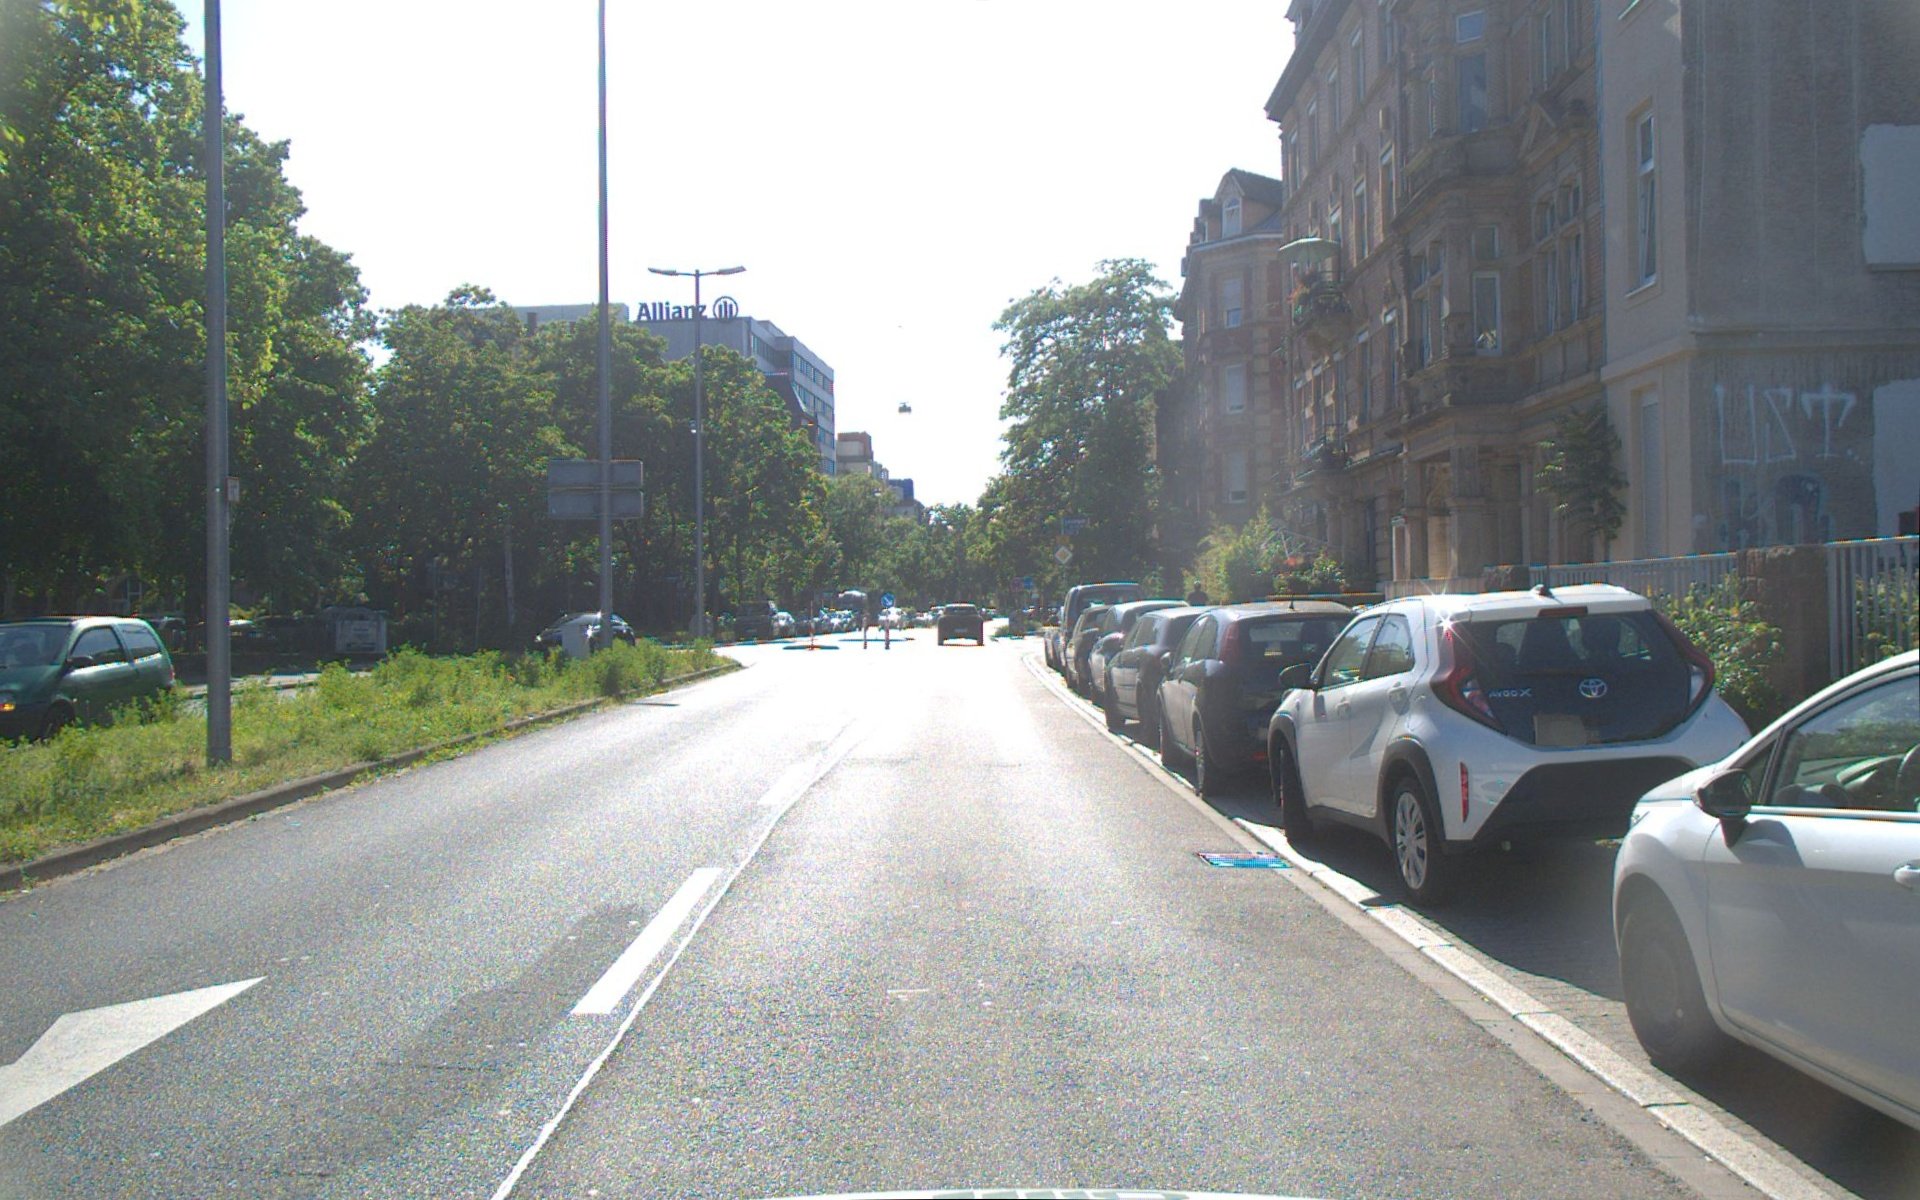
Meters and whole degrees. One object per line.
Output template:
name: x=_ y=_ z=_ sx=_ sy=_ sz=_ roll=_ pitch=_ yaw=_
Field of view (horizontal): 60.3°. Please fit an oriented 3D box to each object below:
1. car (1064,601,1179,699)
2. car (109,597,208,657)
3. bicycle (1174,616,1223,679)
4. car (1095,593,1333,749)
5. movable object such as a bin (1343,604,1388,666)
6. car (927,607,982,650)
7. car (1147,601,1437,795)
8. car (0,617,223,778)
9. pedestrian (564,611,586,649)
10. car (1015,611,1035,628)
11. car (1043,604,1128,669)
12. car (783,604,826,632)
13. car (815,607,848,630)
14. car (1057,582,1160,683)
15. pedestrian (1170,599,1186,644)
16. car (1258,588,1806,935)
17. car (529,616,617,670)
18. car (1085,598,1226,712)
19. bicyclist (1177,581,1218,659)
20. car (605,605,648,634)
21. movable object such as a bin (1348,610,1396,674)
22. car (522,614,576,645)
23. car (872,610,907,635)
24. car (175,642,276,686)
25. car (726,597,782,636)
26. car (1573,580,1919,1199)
car: x=2.673 y=0.791 z=28.190 sx=1.633 sy=1.493 sz=4.275 roll=-1 pitch=0 yaw=2
car: x=-35.014 y=1.233 z=72.400 sx=1.808 sy=2.365 sz=4.984 roll=0 pitch=-4 yaw=0
bicycle: x=5.028 y=0.981 z=34.930 sx=0.725 sy=1.240 sz=1.960 roll=-3 pitch=-1 yaw=1
car: x=2.778 y=0.727 z=19.129 sx=1.896 sy=1.545 sz=4.482 roll=-1 pitch=0 yaw=-2
movable object such as a bin: x=7.829 y=0.676 z=31.952 sx=0.707 sy=1.177 sz=0.608 roll=0 pitch=-3 yaw=1
car: x=-0.233 y=1.069 z=63.422 sx=1.857 sy=1.545 sz=3.997 roll=1 pitch=-1 yaw=-3
car: x=2.723 y=0.741 z=14.390 sx=1.634 sy=1.418 sz=3.773 roll=-1 pitch=0 yaw=-2
car: x=-9.853 y=0.990 z=18.280 sx=1.605 sy=1.545 sz=4.256 roll=-1 pitch=0 yaw=-2
pedestrian: x=-17.285 y=1.345 z=74.295 sx=0.656 sy=1.655 sz=0.713 roll=-1 pitch=-1 yaw=33
car: x=6.967 y=2.062 z=176.374 sx=1.880 sy=1.668 sz=4.002 roll=-1 pitch=0 yaw=5
car: x=2.913 y=0.823 z=39.017 sx=1.674 sy=1.450 sz=4.205 roll=0 pitch=0 yaw=0
car: x=-9.190 y=1.050 z=97.865 sx=1.721 sy=1.545 sz=3.862 roll=-1 pitch=0 yaw=7
car: x=-8.360 y=1.199 z=107.844 sx=1.491 sy=1.457 sz=3.339 roll=-1 pitch=0 yaw=7
car: x=2.960 y=0.616 z=33.707 sx=1.781 sy=1.876 sz=4.365 roll=-1 pitch=0 yaw=2
pedestrian: x=9.158 y=0.899 z=69.494 sx=0.642 sy=1.848 sz=0.752 roll=0 pitch=-3 yaw=5
car: x=2.976 y=0.739 z=9.446 sx=1.635 sy=1.545 sz=3.658 roll=-1 pitch=0 yaw=-4
car: x=-11.659 y=1.278 z=50.115 sx=1.759 sy=1.545 sz=4.422 roll=0 pitch=0 yaw=-2
car: x=2.820 y=0.759 z=24.422 sx=1.589 sy=1.496 sz=3.298 roll=2 pitch=0 yaw=-1
bicyclist: x=5.004 y=0.406 z=34.907 sx=0.726 sy=1.608 sz=1.100 roll=0 pitch=0 yaw=1
car: x=-20.125 y=1.169 z=99.749 sx=1.946 sy=1.691 sz=3.976 roll=-1 pitch=0 yaw=-20
movable object such as a bin: x=7.750 y=0.797 z=31.109 sx=0.743 sy=1.177 sz=0.608 roll=0 pitch=-3 yaw=1
car: x=-24.020 y=1.705 z=96.625 sx=1.956 sy=1.691 sz=3.957 roll=-1 pitch=0 yaw=-31
car: x=-4.764 y=1.484 z=112.337 sx=1.721 sy=1.545 sz=3.862 roll=-2 pitch=0 yaw=7
car: x=-26.364 y=2.326 z=59.497 sx=1.808 sy=1.517 sz=3.999 roll=0 pitch=-3 yaw=0
car: x=-10.803 y=0.865 z=86.981 sx=2.153 sy=1.963 sz=4.863 roll=-1 pitch=0 yaw=2
car: x=3.093 y=0.701 z=4.140 sx=1.576 sy=1.471 sz=3.657 roll=-4 pitch=0 yaw=-2
